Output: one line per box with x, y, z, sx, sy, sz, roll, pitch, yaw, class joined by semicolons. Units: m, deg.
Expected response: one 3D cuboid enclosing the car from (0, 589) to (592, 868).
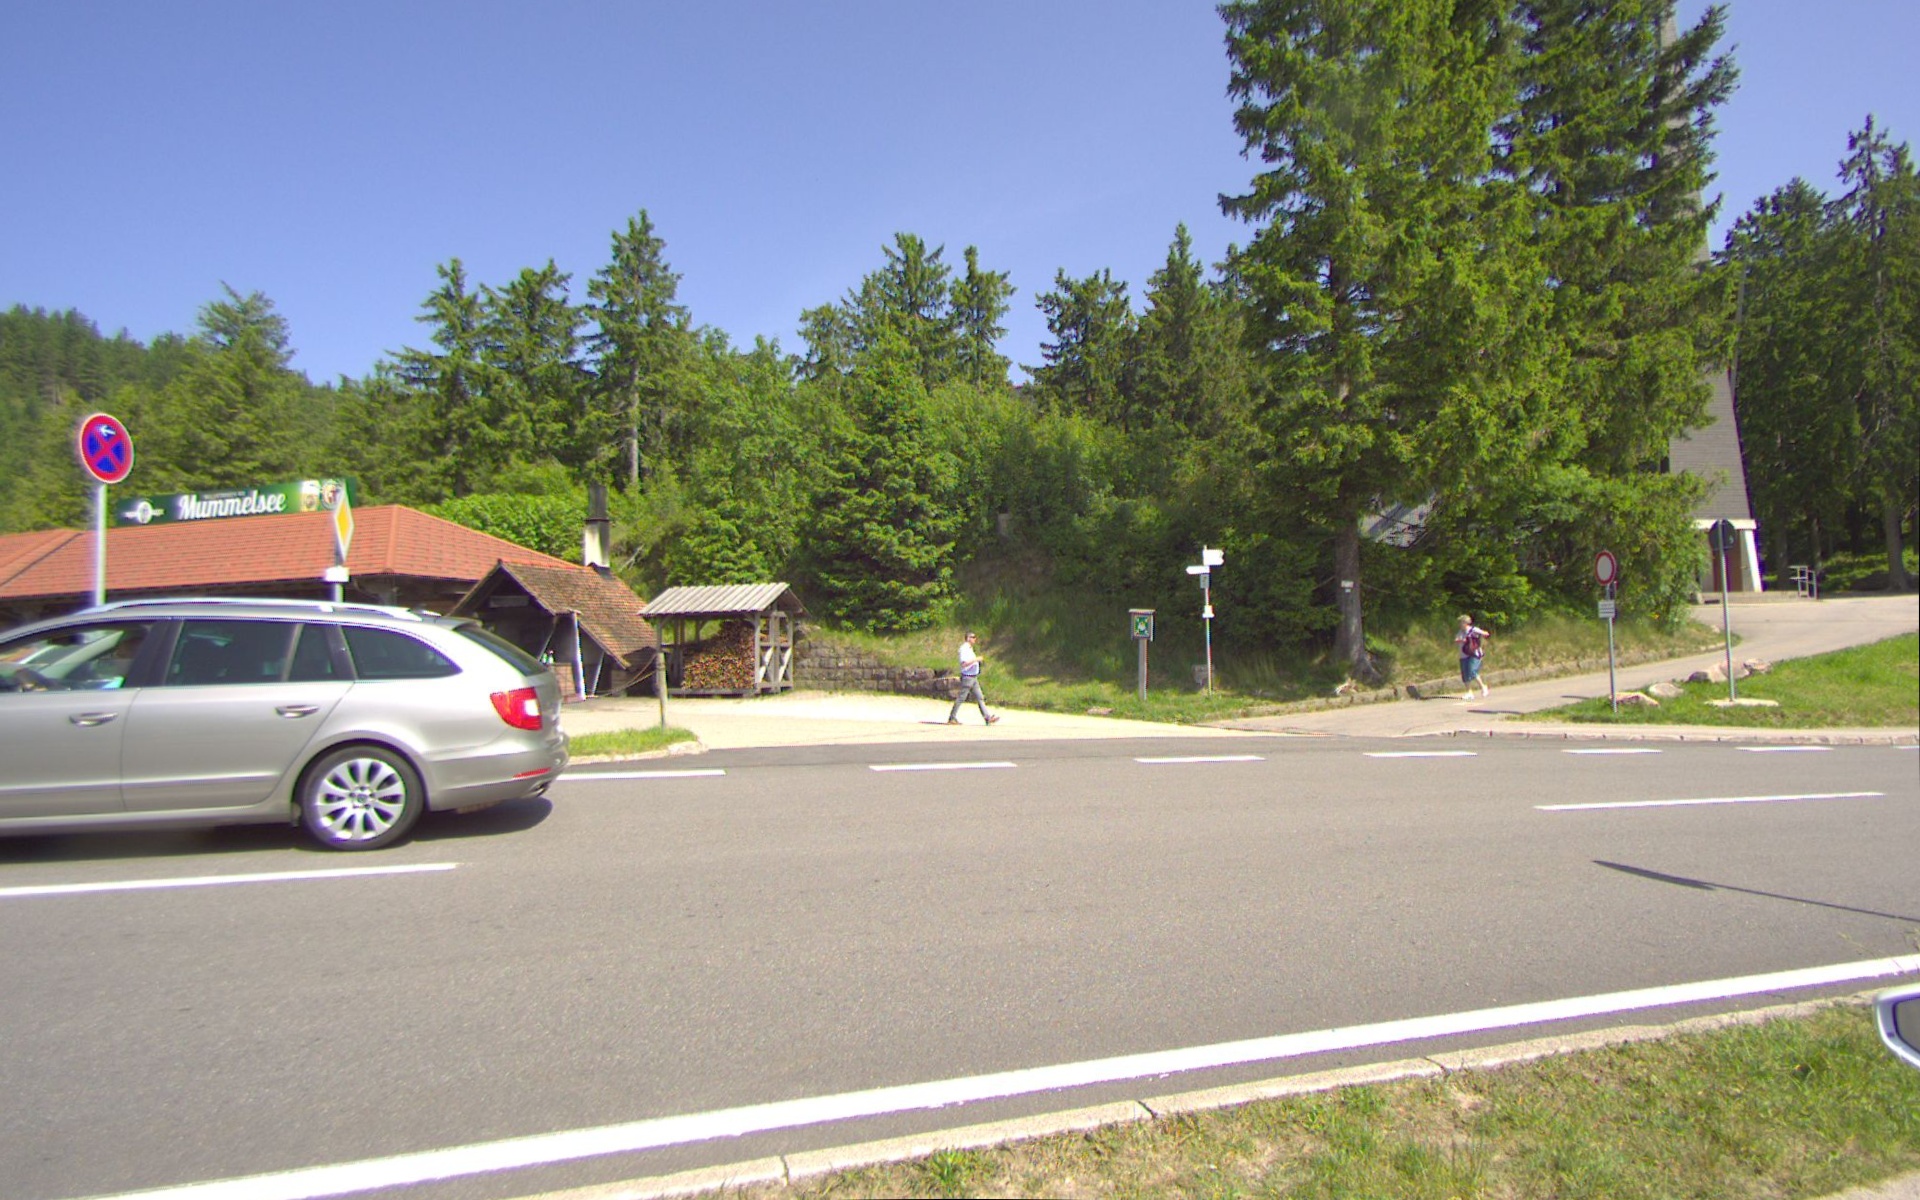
-4.905;0.714;6.442;4.638;1.494;1.878;1;-1;-17;car

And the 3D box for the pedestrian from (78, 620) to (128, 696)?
-23.378;1.574;27.416;0.911;2.040;0.722;-1;-2;29;pedestrian

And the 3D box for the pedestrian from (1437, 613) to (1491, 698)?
10.319;1.129;20.577;0.672;1.703;0.719;1;-3;-20;pedestrian

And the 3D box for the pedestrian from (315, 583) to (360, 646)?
-17.482;0.419;28.217;0.789;1.759;0.748;-1;-3;32;pedestrian

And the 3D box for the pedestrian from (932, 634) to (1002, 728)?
0.148;1.505;19.024;1.139;1.720;0.980;0;-3;12;pedestrian

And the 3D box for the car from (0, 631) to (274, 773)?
-10.368;1.079;10.999;1.689;1.449;4.502;-1;-3;22;car
